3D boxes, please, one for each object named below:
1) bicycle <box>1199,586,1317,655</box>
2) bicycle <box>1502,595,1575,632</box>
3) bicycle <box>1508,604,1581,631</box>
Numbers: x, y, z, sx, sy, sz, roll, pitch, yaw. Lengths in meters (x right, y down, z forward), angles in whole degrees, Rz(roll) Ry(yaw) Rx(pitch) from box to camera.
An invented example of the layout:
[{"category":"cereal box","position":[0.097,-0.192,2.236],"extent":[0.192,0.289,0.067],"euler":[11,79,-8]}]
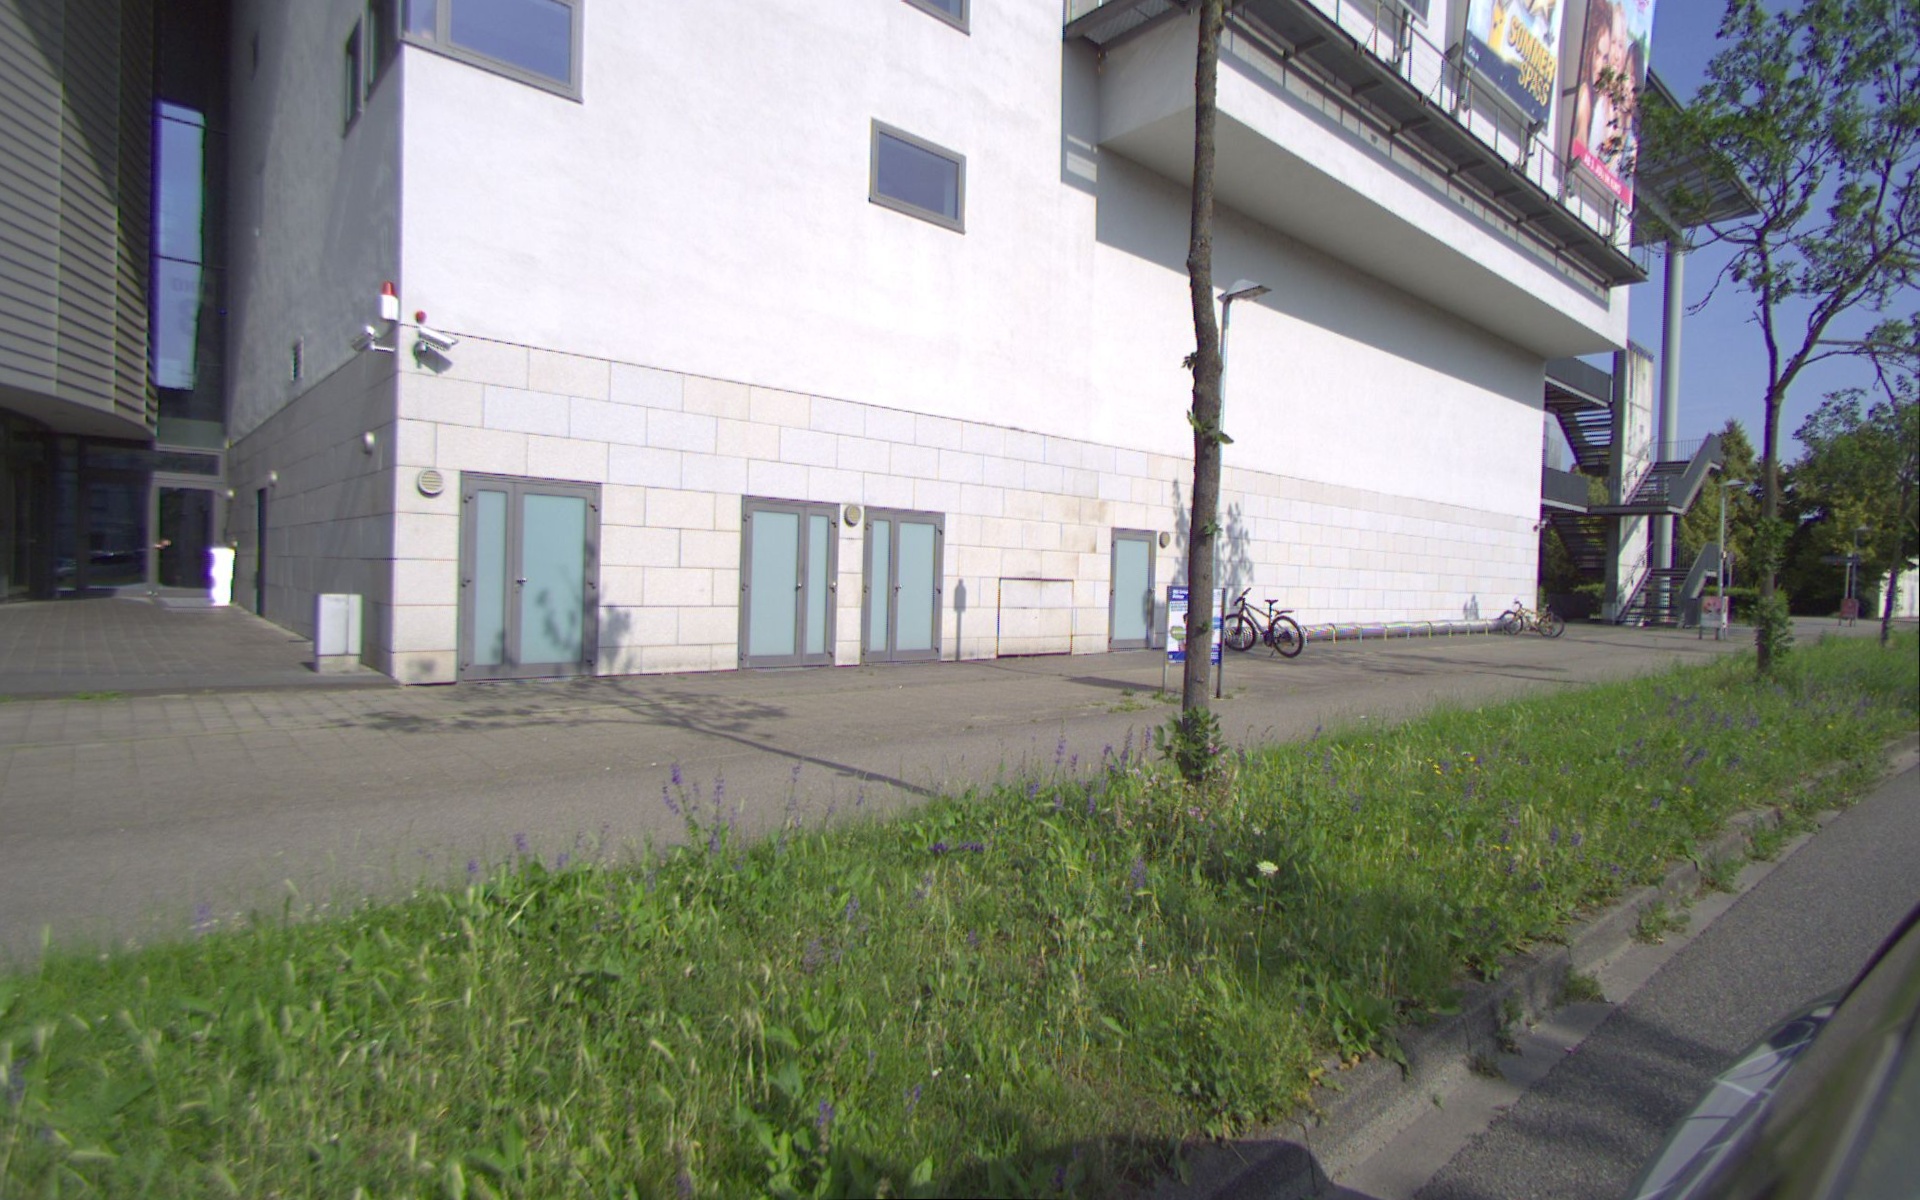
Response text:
[{"category":"bicycle","position":[5.265,0.329,18.003],"extent":[0.663,1.116,2.015],"euler":[1,1,-36]},{"category":"bicycle","position":[15.882,0.353,27.832],"extent":[0.474,0.926,1.661],"euler":[1,2,-40]},{"category":"bicycle","position":[16.284,0.484,28.228],"extent":[0.529,0.653,1.661],"euler":[1,2,-40]}]
